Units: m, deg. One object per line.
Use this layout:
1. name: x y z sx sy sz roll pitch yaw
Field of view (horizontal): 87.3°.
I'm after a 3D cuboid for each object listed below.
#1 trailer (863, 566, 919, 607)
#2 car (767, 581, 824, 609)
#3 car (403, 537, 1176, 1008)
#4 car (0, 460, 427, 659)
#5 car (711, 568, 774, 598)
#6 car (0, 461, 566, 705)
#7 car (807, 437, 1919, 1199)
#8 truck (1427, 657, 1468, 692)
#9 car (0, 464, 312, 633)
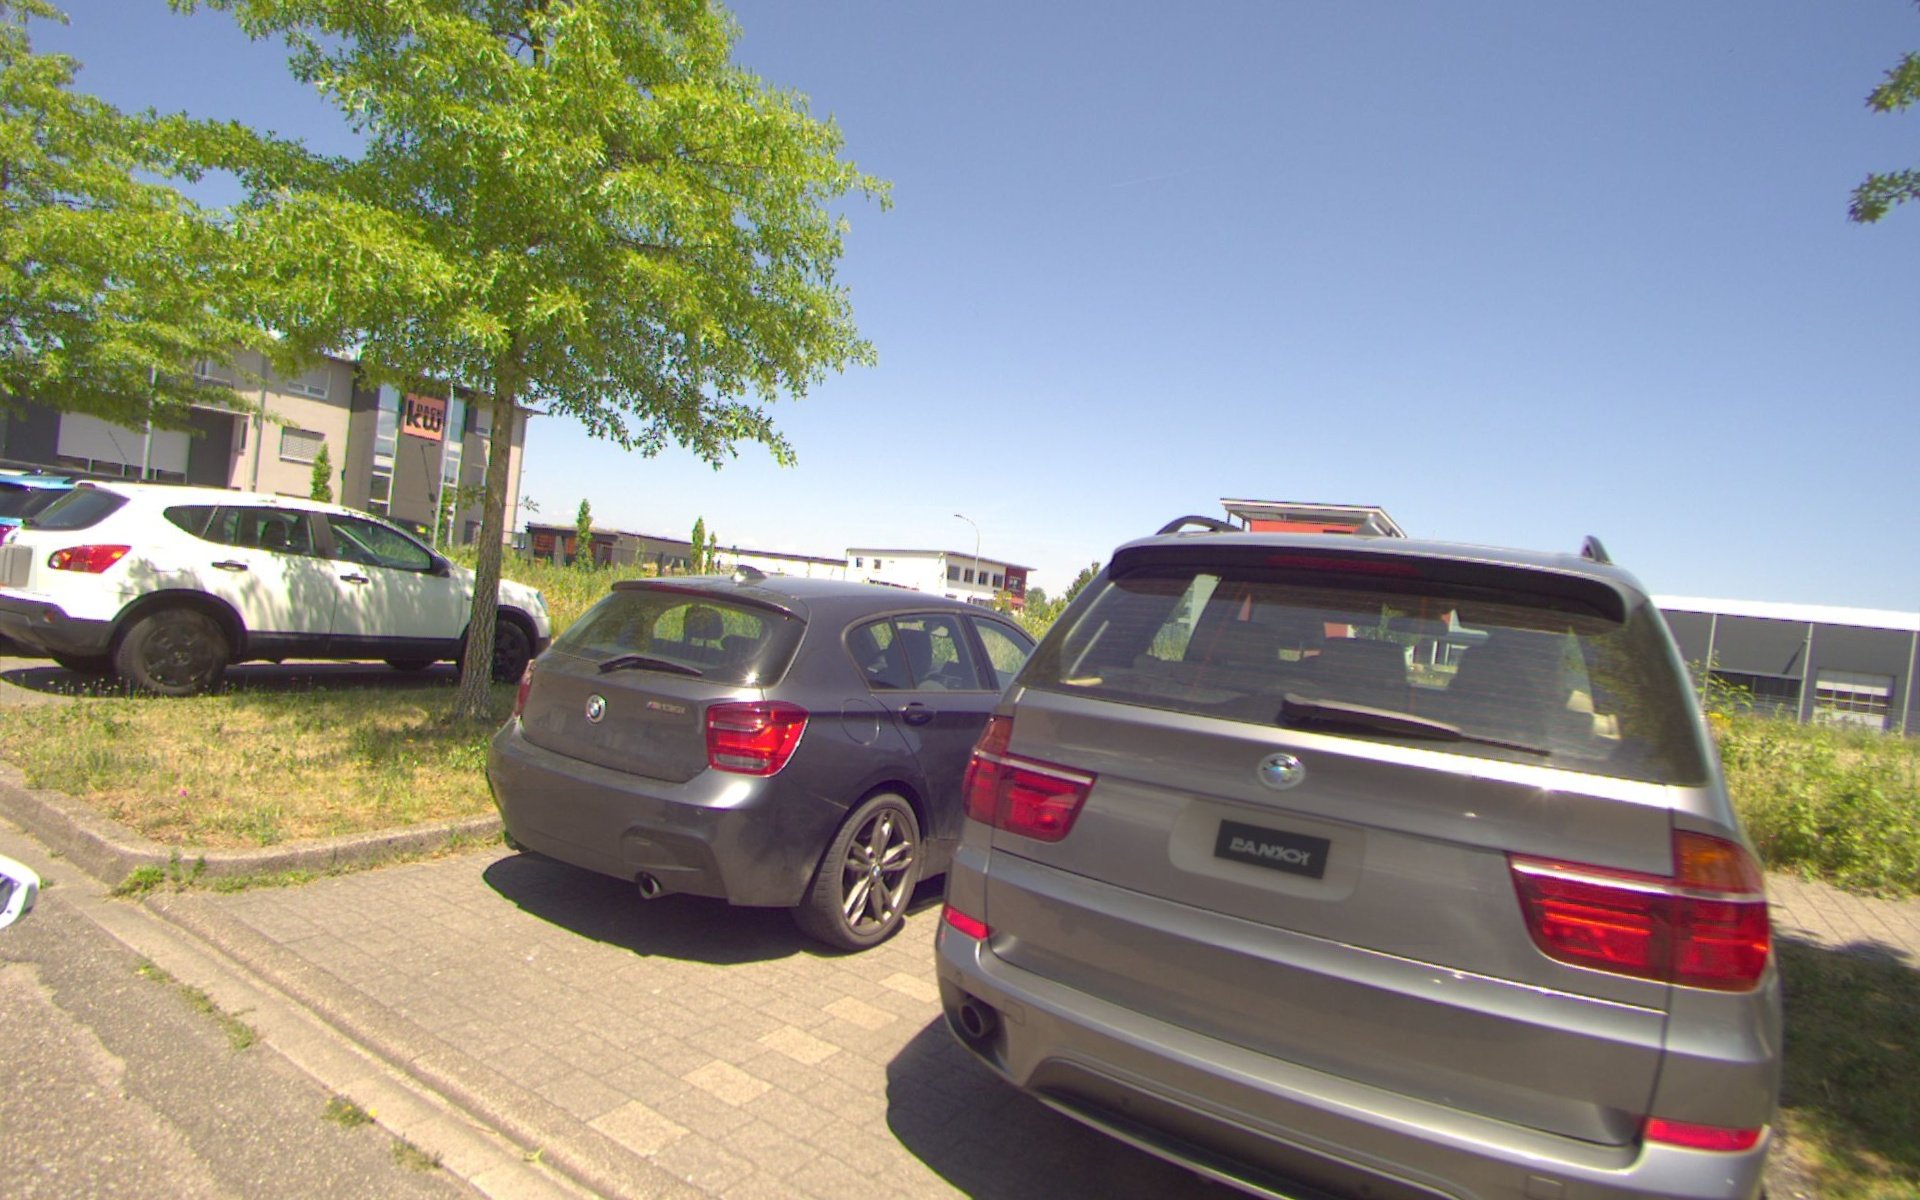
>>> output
1. trailer: -5.266 -1.001 77.302 2.195 2.632 3.992 7 1 30
2. car: -10.983 -0.331 67.394 1.650 1.401 3.633 9 1 32
3. car: -0.465 0.630 5.382 1.878 1.427 3.926 6 0 31
4. car: -7.954 -0.340 10.265 1.807 1.665 3.990 7 1 31
5. car: -13.535 -1.051 62.759 1.650 1.401 3.633 9 1 32
6. car: -5.904 -0.091 8.939 1.870 1.628 4.070 6 1 33
7. car: 1.660 0.706 3.829 1.959 1.791 4.453 7 1 30
8. truck: 33.299 5.093 68.692 1.967 2.039 4.347 7 0 31
9. car: -10.123 -0.602 11.363 1.820 1.665 4.281 7 1 32
